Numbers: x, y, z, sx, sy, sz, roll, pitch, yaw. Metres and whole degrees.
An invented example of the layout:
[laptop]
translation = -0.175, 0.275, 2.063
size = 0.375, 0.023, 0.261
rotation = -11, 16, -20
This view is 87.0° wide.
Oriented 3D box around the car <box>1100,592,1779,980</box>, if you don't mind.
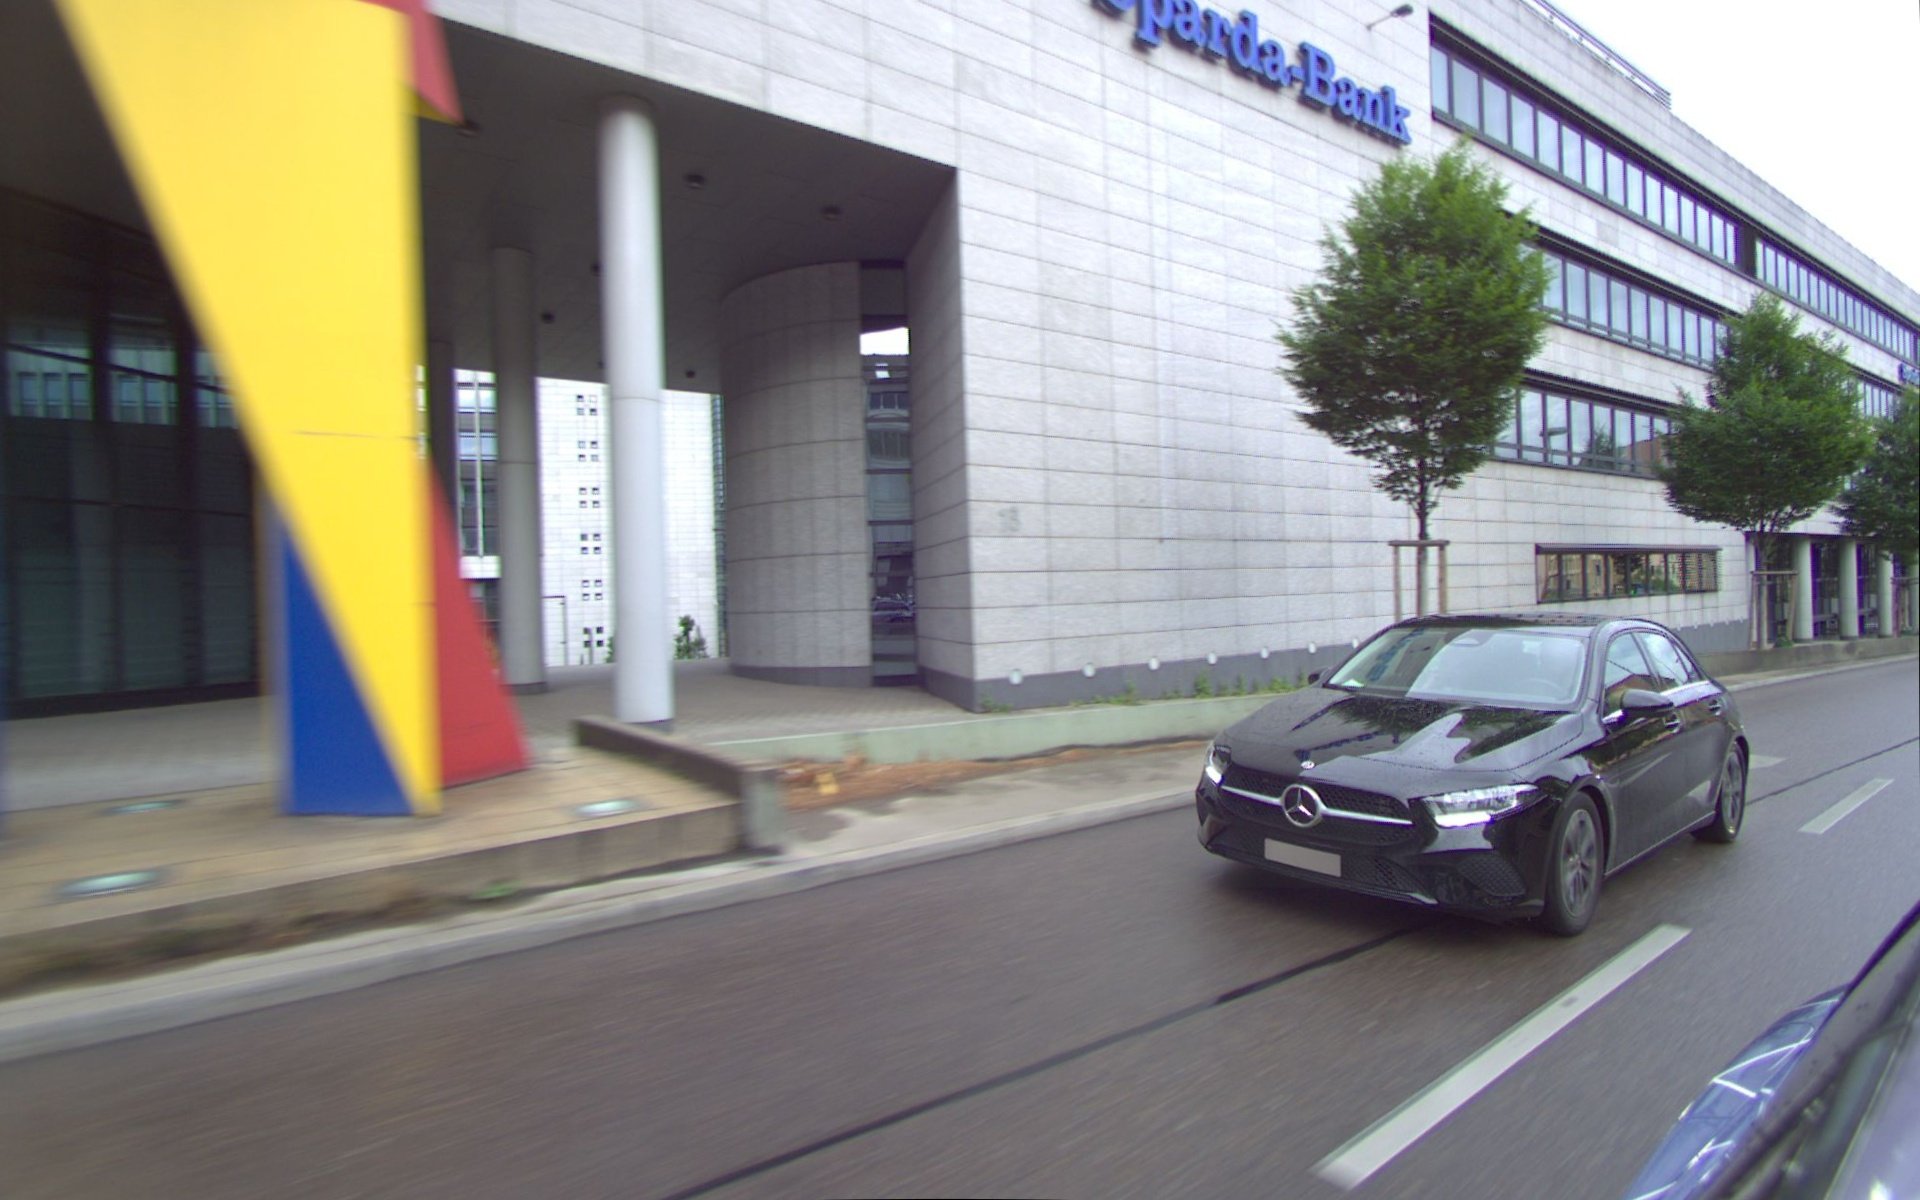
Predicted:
[car]
translation = 2.930, 0.707, 5.823
size = 4.128, 1.455, 1.877
rotation = 0, 0, -38
